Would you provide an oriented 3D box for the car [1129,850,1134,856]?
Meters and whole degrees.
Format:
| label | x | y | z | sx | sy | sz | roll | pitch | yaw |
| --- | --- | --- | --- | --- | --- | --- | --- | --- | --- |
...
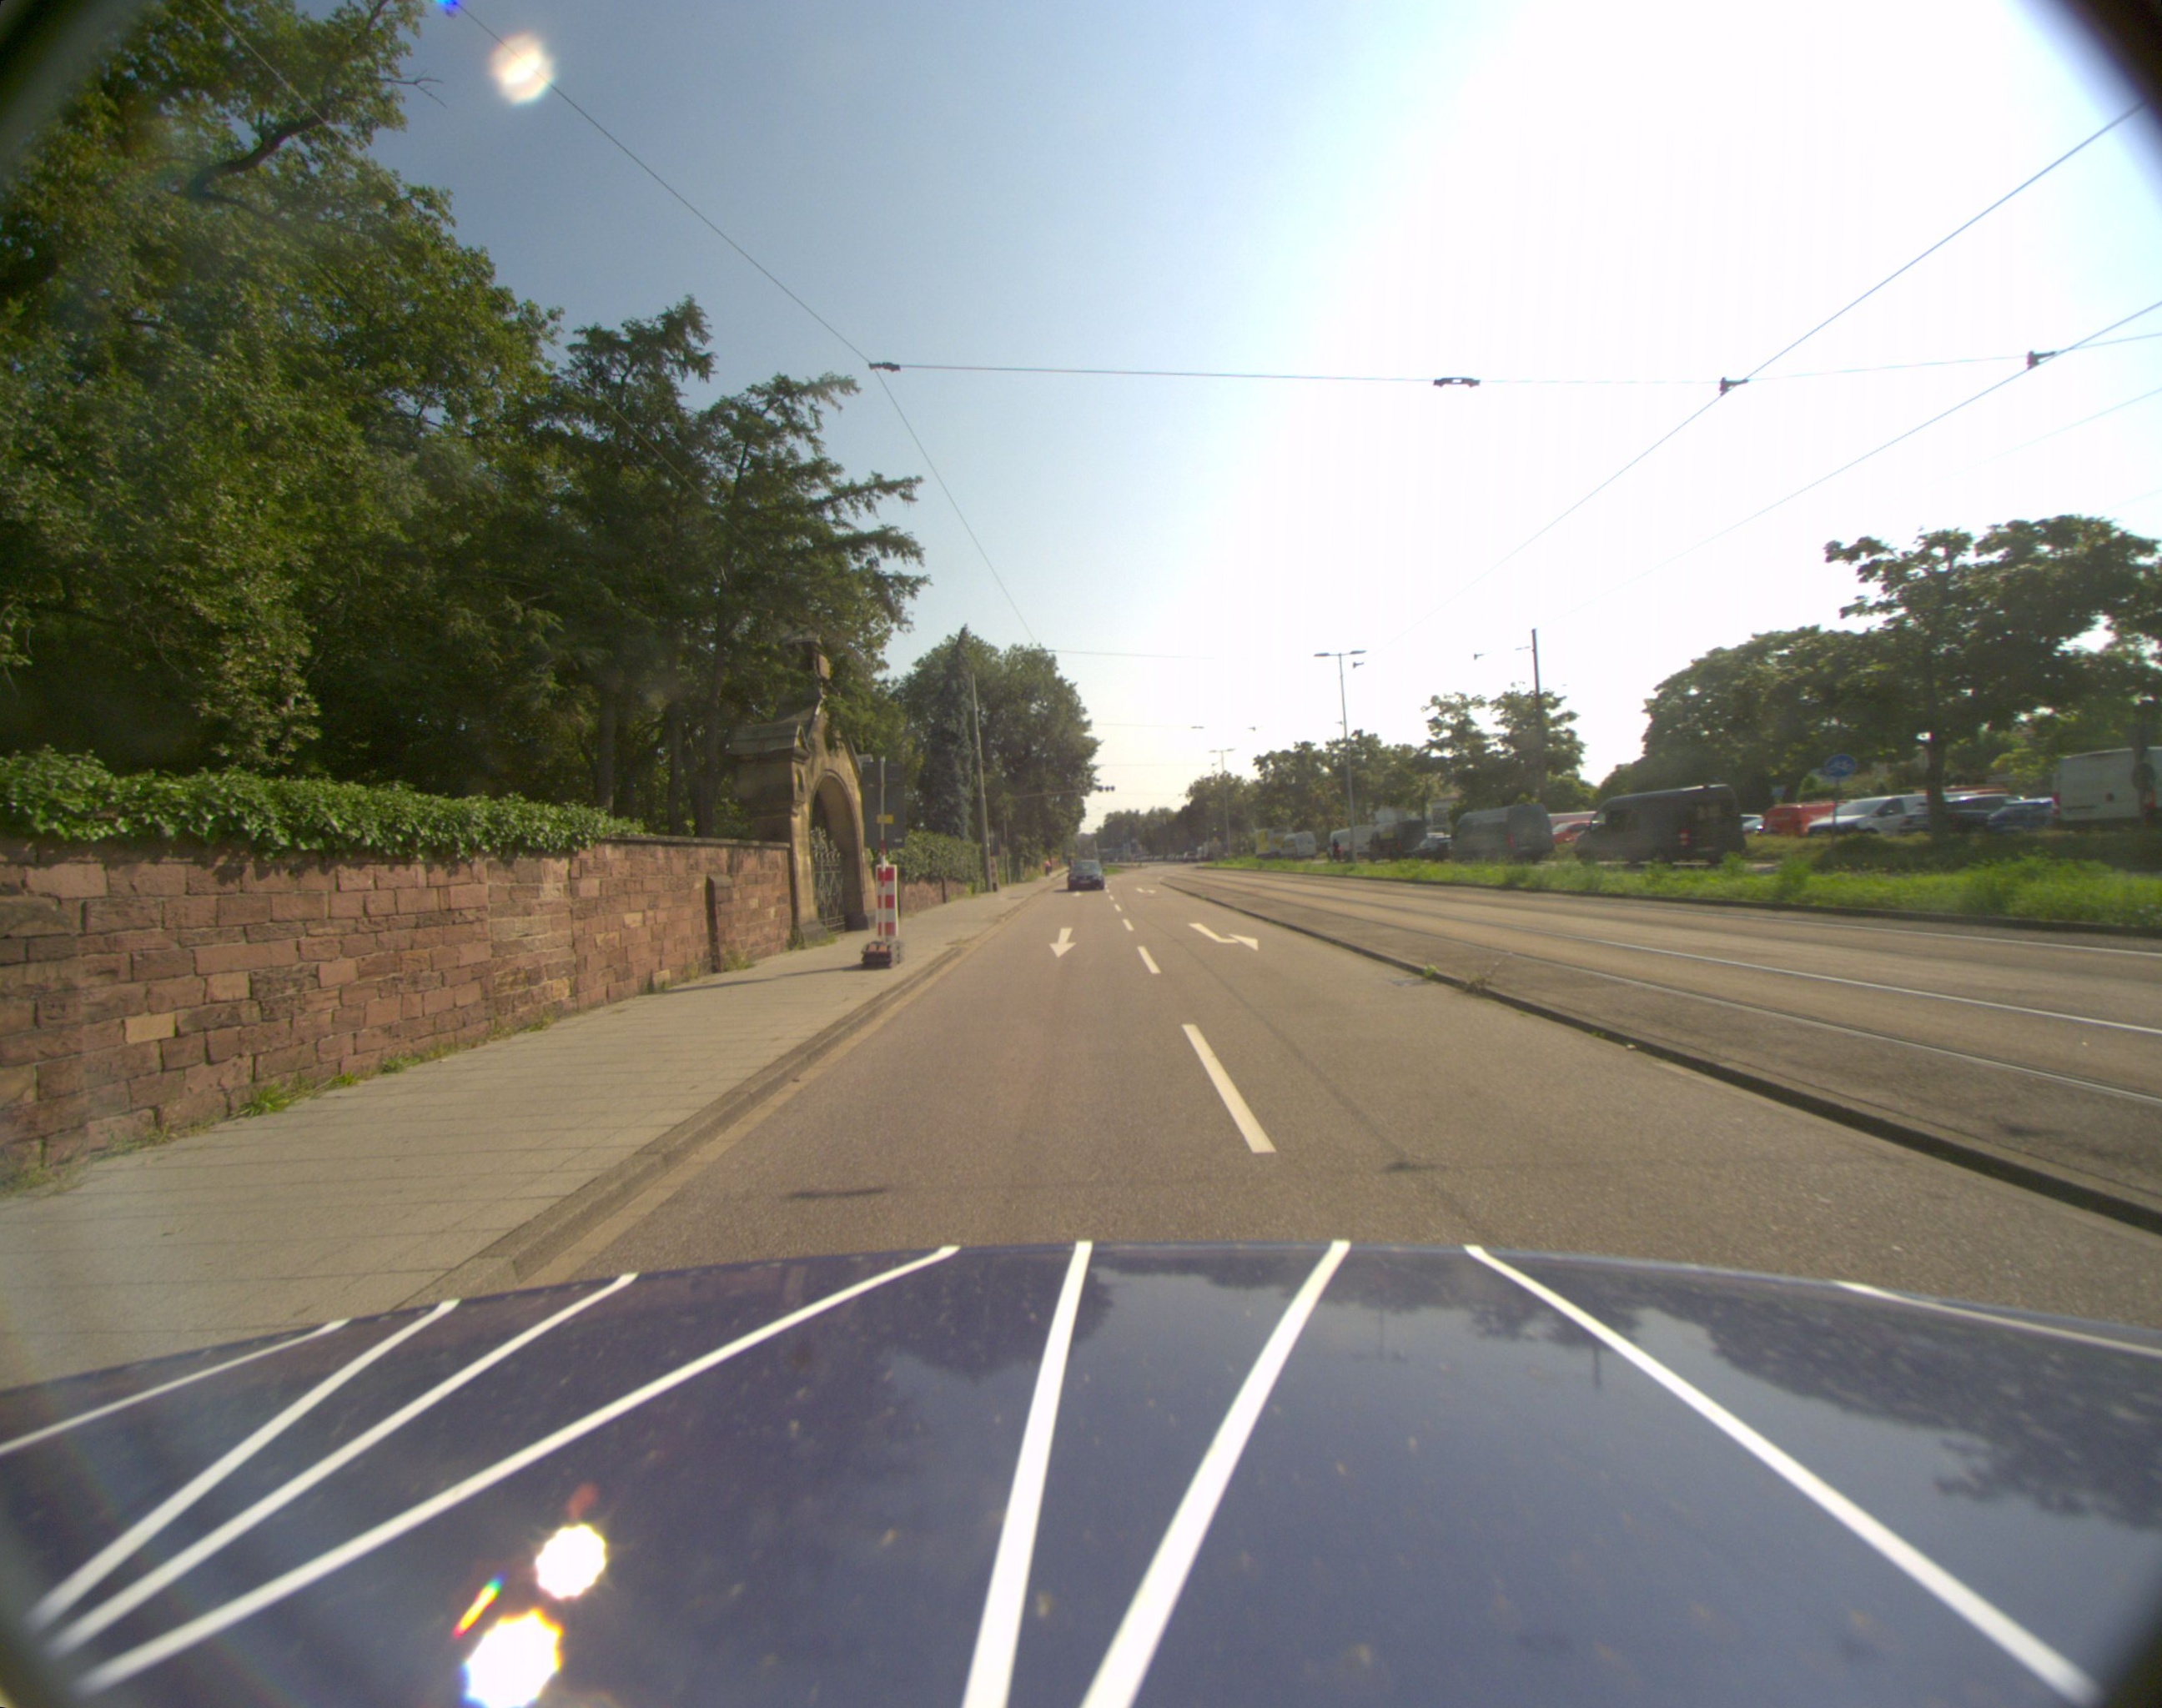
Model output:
| label | x | y | z | sx | sy | sz | roll | pitch | yaw |
| --- | --- | --- | --- | --- | --- | --- | --- | --- | --- |
| car | 16.357 | -0.329 | 246.061 | 1.550 | 1.575 | 3.455 | -3 | 0 | 0 |

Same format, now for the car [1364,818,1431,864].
| label | x | y | z | sx | sy | sz | roll | pitch | yaw |
| --- | --- | --- | --- | --- | --- | --- | --- | --- | --- |
| car | 20.094 | -0.769 | 48.544 | 1.826 | 2.571 | 5.910 | -5 | 0 | 2 |

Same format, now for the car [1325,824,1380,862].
| label | x | y | z | sx | sy | sz | roll | pitch | yaw |
| --- | --- | --- | --- | --- | --- | --- | --- | --- | --- |
| car | 20.246 | -0.789 | 56.908 | 2.137 | 2.571 | 5.631 | -3 | 0 | 1 |

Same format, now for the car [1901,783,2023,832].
| label | x | y | z | sx | sy | sz | roll | pitch | yaw |
| --- | --- | --- | --- | --- | --- | --- | --- | --- | --- |
| car | 44.419 | -2.333 | 38.374 | 3.997 | 2.085 | 1.803 | -4 | 1 | -1 |

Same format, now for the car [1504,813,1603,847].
| label | x | y | z | sx | sy | sz | roll | pitch | yaw |
| --- | --- | --- | --- | --- | --- | --- | --- | --- | --- |
| car | 30.965 | -1.569 | 49.916 | 5.198 | 1.914 | 2.052 | -3 | 1 | 0 |

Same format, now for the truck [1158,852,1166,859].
| label | x | y | z | sx | sy | sz | roll | pitch | yaw |
| --- | --- | --- | --- | --- | --- | --- | --- | --- | --- |
| truck | 20.393 | 0.248 | 192.005 | 1.691 | 1.665 | 3.655 | -3 | 0 | 1 |

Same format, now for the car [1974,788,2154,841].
| label | x | y | z | sx | sy | sz | roll | pitch | yaw |
| --- | --- | --- | --- | --- | --- | --- | --- | --- | --- |
| car | 30.108 | -1.187 | 23.350 | 3.413 | 1.418 | 1.633 | -3 | 1 | 0 |

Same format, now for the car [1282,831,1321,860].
| label | x | y | z | sx | sy | sz | roll | pitch | yaw |
| --- | --- | --- | --- | --- | --- | --- | --- | --- | --- |
| car | 20.586 | -0.778 | 71.188 | 2.148 | 2.444 | 4.831 | -3 | 0 | 0 |

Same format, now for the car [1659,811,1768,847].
| label | x | y | z | sx | sy | sz | roll | pitch | yaw |
| --- | --- | --- | --- | --- | --- | --- | --- | --- | --- |
| car | 30.402 | -1.203 | 36.566 | 4.170 | 1.455 | 1.623 | -3 | 0 | -8 |

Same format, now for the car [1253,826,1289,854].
| label | x | y | z | sx | sy | sz | roll | pitch | yaw |
| --- | --- | --- | --- | --- | --- | --- | --- | --- | --- |
| car | 20.123 | -1.449 | 80.772 | 2.129 | 2.789 | 7.231 | -3 | 0 | 1 |

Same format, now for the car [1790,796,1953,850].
| label | x | y | z | sx | sy | sz | roll | pitch | yaw |
| --- | --- | --- | --- | --- | --- | --- | --- | --- | --- |
| car | 29.668 | -1.125 | 28.597 | 4.410 | 1.774 | 1.633 | -3 | 1 | 0 |

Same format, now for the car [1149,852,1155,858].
| label | x | y | z | sx | sy | sz | roll | pitch | yaw |
| --- | --- | --- | --- | --- | --- | --- | --- | --- | --- |
| car | 20.100 | 0.313 | 215.099 | 1.550 | 1.575 | 3.455 | -3 | 0 | 0 |

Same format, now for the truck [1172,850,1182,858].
| label | x | y | z | sx | sy | sz | roll | pitch | yaw |
| --- | --- | --- | --- | --- | --- | --- | --- | --- | --- |
| truck | 21.721 | -0.052 | 171.599 | 1.691 | 1.665 | 3.655 | -3 | 0 | 1 |

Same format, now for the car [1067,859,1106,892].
| label | x | y | z | sx | sy | sz | roll | pitch | yaw |
| --- | --- | --- | --- | --- | --- | --- | --- | --- | --- |
| car | 0.316 | 1.005 | 37.460 | 1.776 | 1.416 | 3.935 | -2 | 0 | 2 |

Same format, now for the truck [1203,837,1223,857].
| label | x | y | z | sx | sy | sz | roll | pitch | yaw |
| --- | --- | --- | --- | --- | --- | --- | --- | --- | --- |
| truck | 21.483 | -1.140 | 123.944 | 2.278 | 3.103 | 8.788 | -3 | 0 | 4 |

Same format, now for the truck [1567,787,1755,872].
| label | x | y | z | sx | sy | sz | roll | pitch | yaw |
| --- | --- | --- | --- | --- | --- | --- | --- | --- | --- |
| truck | 19.742 | -0.767 | 26.331 | 2.086 | 2.533 | 5.739 | -3 | 0 | 0 |

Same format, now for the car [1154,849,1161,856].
| label | x | y | z | sx | sy | sz | roll | pitch | yaw |
| --- | --- | --- | --- | --- | --- | --- | --- | --- | --- |
| car | 21.094 | -0.417 | 209.305 | 1.550 | 1.575 | 3.455 | -3 | 0 | 0 |

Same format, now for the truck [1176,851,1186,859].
| label | x | y | z | sx | sy | sz | roll | pitch | yaw |
| --- | --- | --- | --- | --- | --- | --- | --- | --- | --- |
| truck | 21.475 | 0.142 | 163.947 | 1.691 | 1.665 | 3.655 | -3 | 0 | 1 |

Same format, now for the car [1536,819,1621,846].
| label | x | y | z | sx | sy | sz | roll | pitch | yaw |
| --- | --- | --- | --- | --- | --- | --- | --- | --- | --- |
| car | 30.633 | -1.329 | 46.867 | 3.997 | 1.442 | 1.857 | -3 | 0 | 1 |

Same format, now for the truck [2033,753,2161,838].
| label | x | y | z | sx | sy | sz | roll | pitch | yaw |
| --- | --- | --- | --- | --- | --- | --- | --- | --- | --- |
| truck | 30.329 | -1.648 | 20.884 | 5.504 | 2.160 | 2.259 | -3 | 1 | 0 |

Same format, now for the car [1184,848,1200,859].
| label | x | y | z | sx | sy | sz | roll | pitch | yaw |
| --- | --- | --- | --- | --- | --- | --- | --- | --- | --- |
| car | 16.602 | -0.058 | 114.082 | 1.929 | 1.510 | 3.950 | -3 | 0 | 3 |

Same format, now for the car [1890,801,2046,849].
| label | x | y | z | sx | sy | sz | roll | pitch | yaw |
| --- | --- | --- | --- | --- | --- | --- | --- | --- | --- |
| car | 30.228 | -0.962 | 25.953 | 3.413 | 1.418 | 1.633 | -3 | 1 | 0 |

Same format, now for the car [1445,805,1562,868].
| label | x | y | z | sx | sy | sz | roll | pitch | yaw |
| --- | --- | --- | --- | --- | --- | --- | --- | --- | --- |
| car | 19.919 | -0.782 | 36.258 | 1.993 | 2.571 | 6.467 | -5 | 0 | 2 |

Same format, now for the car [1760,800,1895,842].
| label | x | y | z | sx | sy | sz | roll | pitch | yaw |
| --- | --- | --- | --- | --- | --- | --- | --- | --- | --- |
| car | 30.667 | -1.330 | 31.301 | 3.933 | 1.509 | 1.633 | -3 | 1 | 0 |

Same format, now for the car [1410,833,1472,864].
| label | x | y | z | sx | sy | sz | roll | pitch | yaw |
| --- | --- | --- | --- | --- | --- | --- | --- | --- | --- |
| car | 20.113 | -0.297 | 42.621 | 1.748 | 1.543 | 3.834 | -5 | 0 | 3 |
